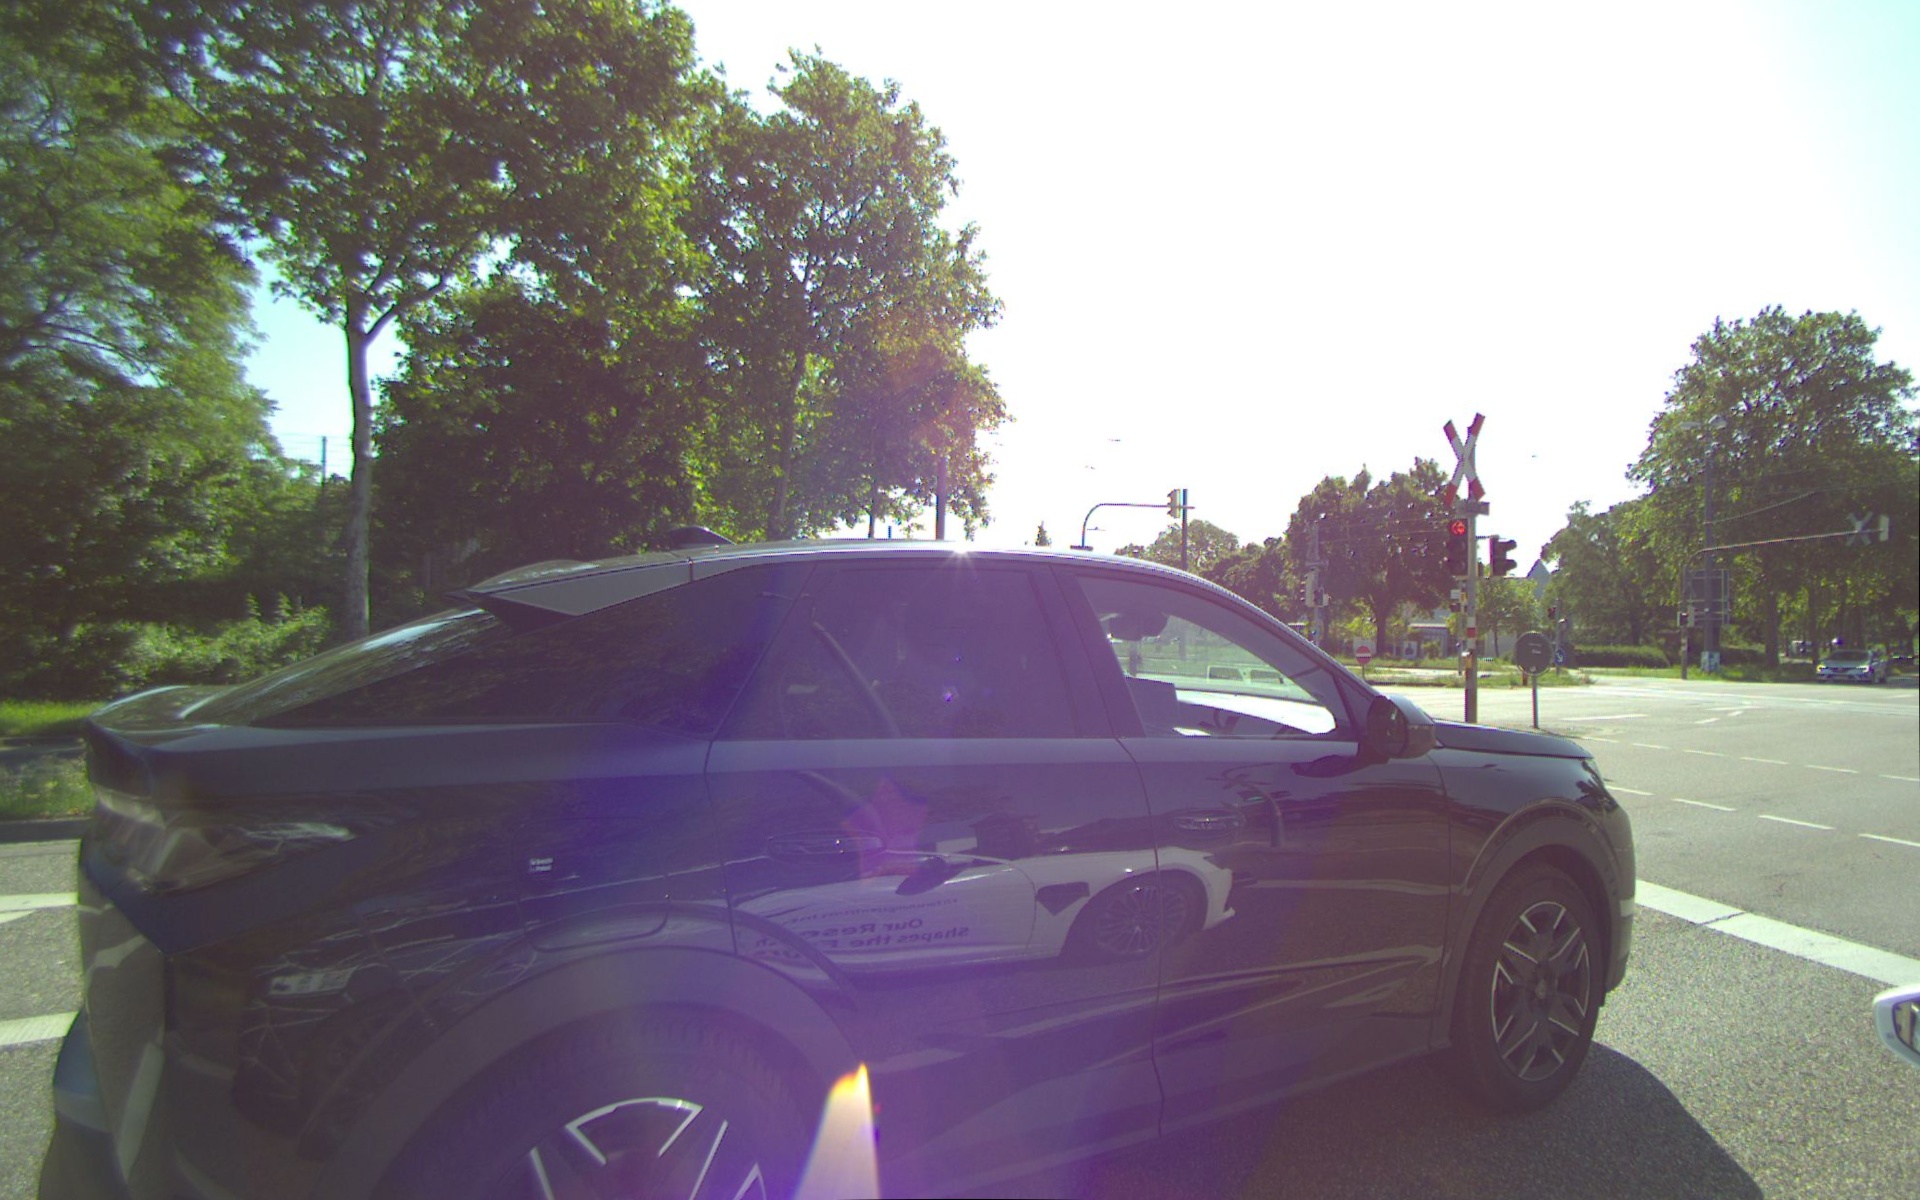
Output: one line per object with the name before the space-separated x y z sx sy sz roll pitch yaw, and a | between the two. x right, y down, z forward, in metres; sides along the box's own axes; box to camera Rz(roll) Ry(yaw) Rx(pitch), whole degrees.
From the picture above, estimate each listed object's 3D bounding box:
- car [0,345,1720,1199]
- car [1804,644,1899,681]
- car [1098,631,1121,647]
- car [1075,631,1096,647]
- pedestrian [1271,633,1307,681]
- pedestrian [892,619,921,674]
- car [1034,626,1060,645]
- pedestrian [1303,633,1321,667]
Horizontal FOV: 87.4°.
car | 0.135 0.614 2.994 4.384 1.719 1.863 2 -1 -30
car | 38.387 2.667 43.214 4.606 1.528 1.686 2 -2 -30
car | 13.909 3.623 93.434 1.421 1.465 3.340 1 -2 -4
car | 11.637 3.625 93.434 1.323 1.465 3.340 1 -2 -4
pedestrian | 10.623 1.849 32.429 0.856 1.520 0.696 1 -2 -19
pedestrian | -1.535 1.335 28.858 0.563 1.554 0.601 2 -2 -36
car | 8.014 3.264 93.115 1.780 1.725 3.985 1 -2 -4
pedestrian | 21.348 3.040 60.948 0.706 2.040 0.786 2 -2 -40
